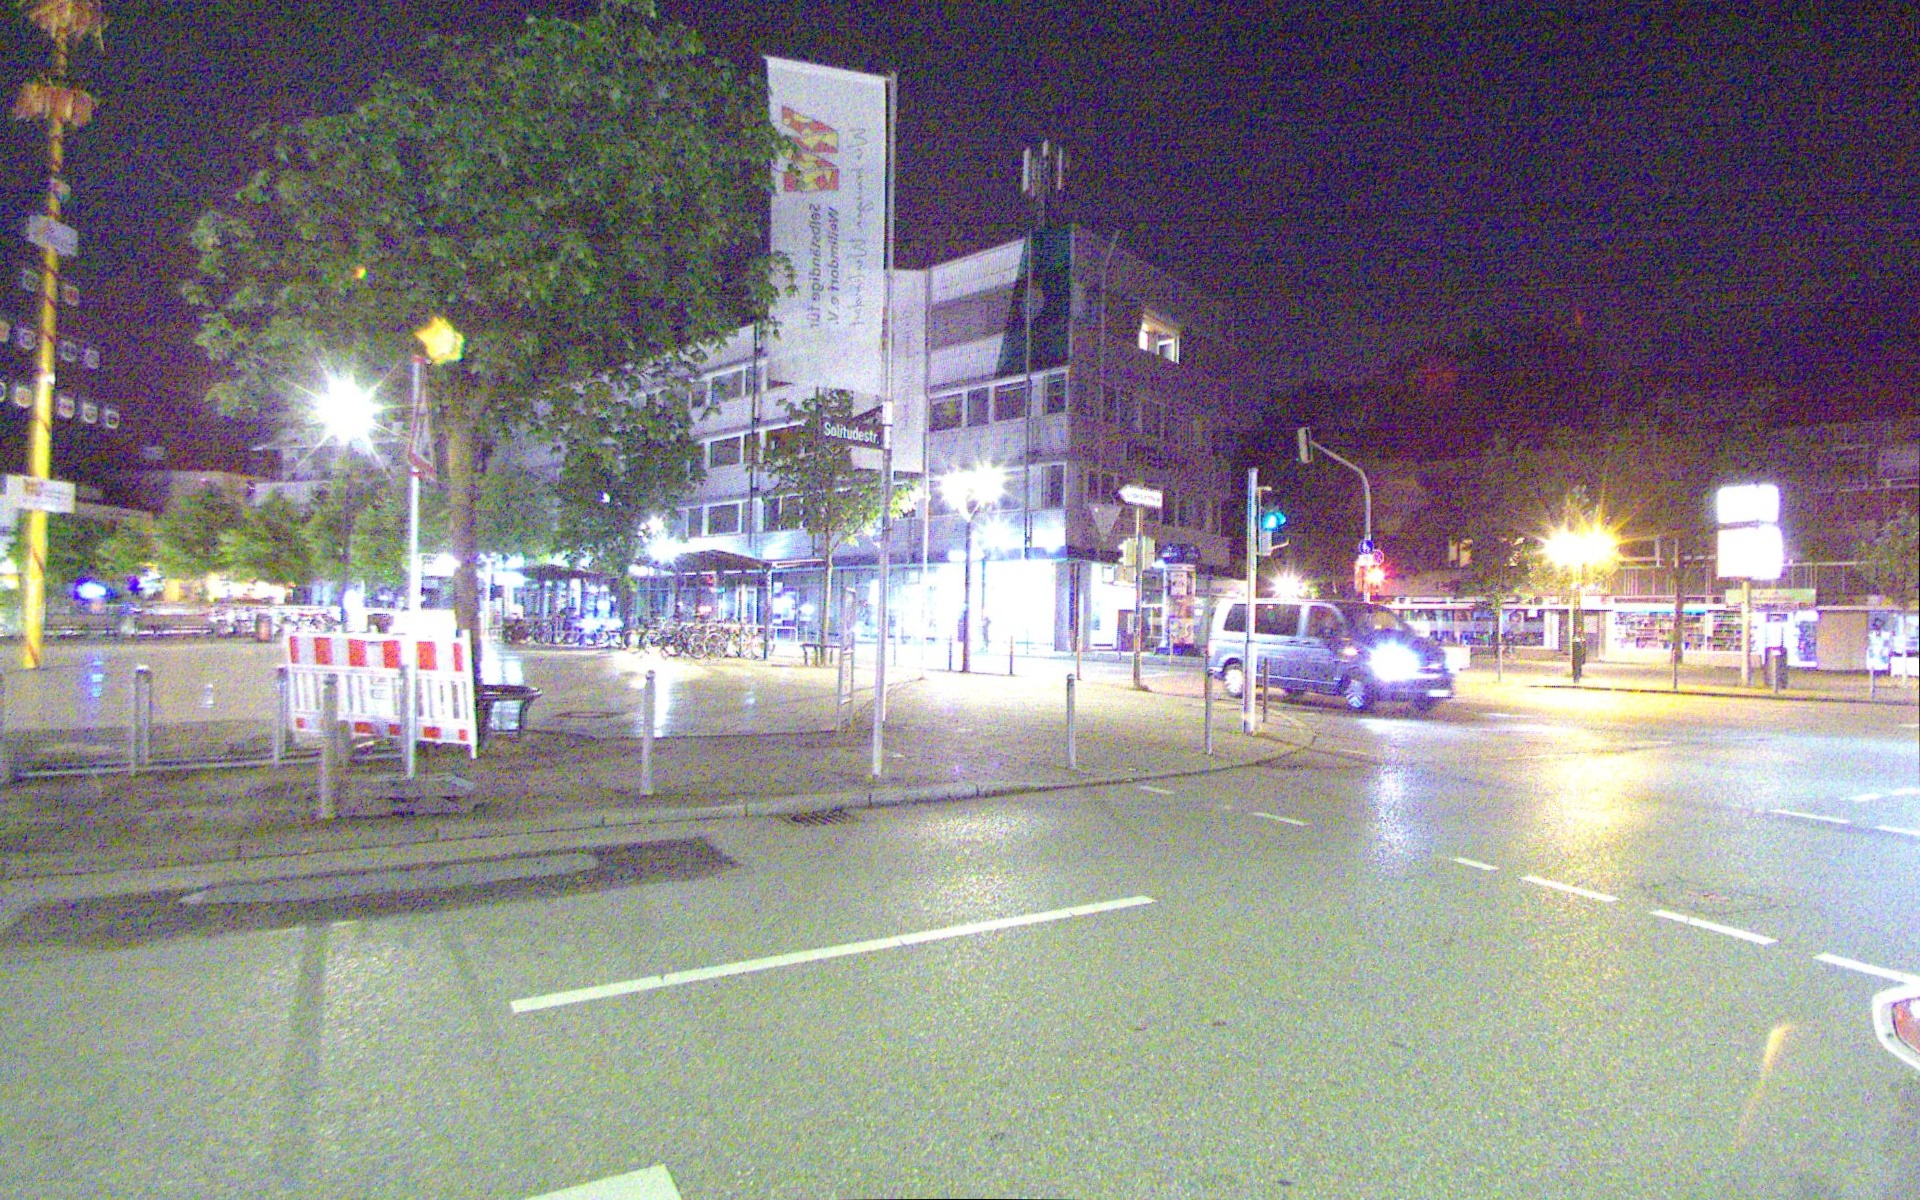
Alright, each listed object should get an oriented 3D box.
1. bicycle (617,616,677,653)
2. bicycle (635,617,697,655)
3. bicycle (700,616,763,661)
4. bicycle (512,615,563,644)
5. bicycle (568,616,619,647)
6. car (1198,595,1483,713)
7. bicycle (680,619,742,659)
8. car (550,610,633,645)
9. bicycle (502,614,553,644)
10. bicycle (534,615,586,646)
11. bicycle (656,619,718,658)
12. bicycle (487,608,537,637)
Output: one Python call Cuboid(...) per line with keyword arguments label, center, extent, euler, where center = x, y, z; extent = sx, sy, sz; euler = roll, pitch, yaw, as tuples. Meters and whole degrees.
Cuboid(label="bicycle", center=(-8.537, 0.943, 27.430), extent=(0.473, 0.970, 1.525), euler=(2, 0, 44))
Cuboid(label="bicycle", center=(-7.830, 0.962, 26.802), extent=(0.473, 0.970, 1.525), euler=(2, 0, 44))
Cuboid(label="bicycle", center=(-5.650, 0.950, 24.925), extent=(0.440, 1.068, 1.525), euler=(2, 0, 43))
Cuboid(label="bicycle", center=(-14.184, 0.990, 33.738), extent=(0.473, 0.970, 1.525), euler=(2, 0, 44))
Cuboid(label="bicycle", center=(-12.072, 1.031, 33.098), extent=(0.473, 0.970, 1.525), euler=(2, 0, 44))
Cuboid(label="car", center=(6.879, 0.925, 18.774), extent=(1.950, 1.896, 4.874), euler=(2, -1, -29))
Cuboid(label="bicycle", center=(-6.318, 0.982, 25.555), extent=(0.440, 0.970, 1.525), euler=(2, 0, 43))
Cuboid(label="car", center=(-17.656, 1.281, 48.073), extent=(4.252, 1.473, 1.870), euler=(2, 0, 41))
Cuboid(label="bicycle", center=(-14.822, 0.999, 34.445), extent=(0.473, 0.970, 1.525), euler=(2, 0, 44))
Cuboid(label="bicycle", center=(-13.151, 1.003, 33.066), extent=(0.473, 0.970, 1.525), euler=(2, 0, 44))
Cuboid(label="bicycle", center=(-7.094, 0.986, 26.129), extent=(0.473, 0.970, 1.525), euler=(2, 0, 44))
Cuboid(label="bicycle", center=(-15.549, 0.795, 34.883), extent=(0.473, 0.970, 1.525), euler=(2, 0, 44))
